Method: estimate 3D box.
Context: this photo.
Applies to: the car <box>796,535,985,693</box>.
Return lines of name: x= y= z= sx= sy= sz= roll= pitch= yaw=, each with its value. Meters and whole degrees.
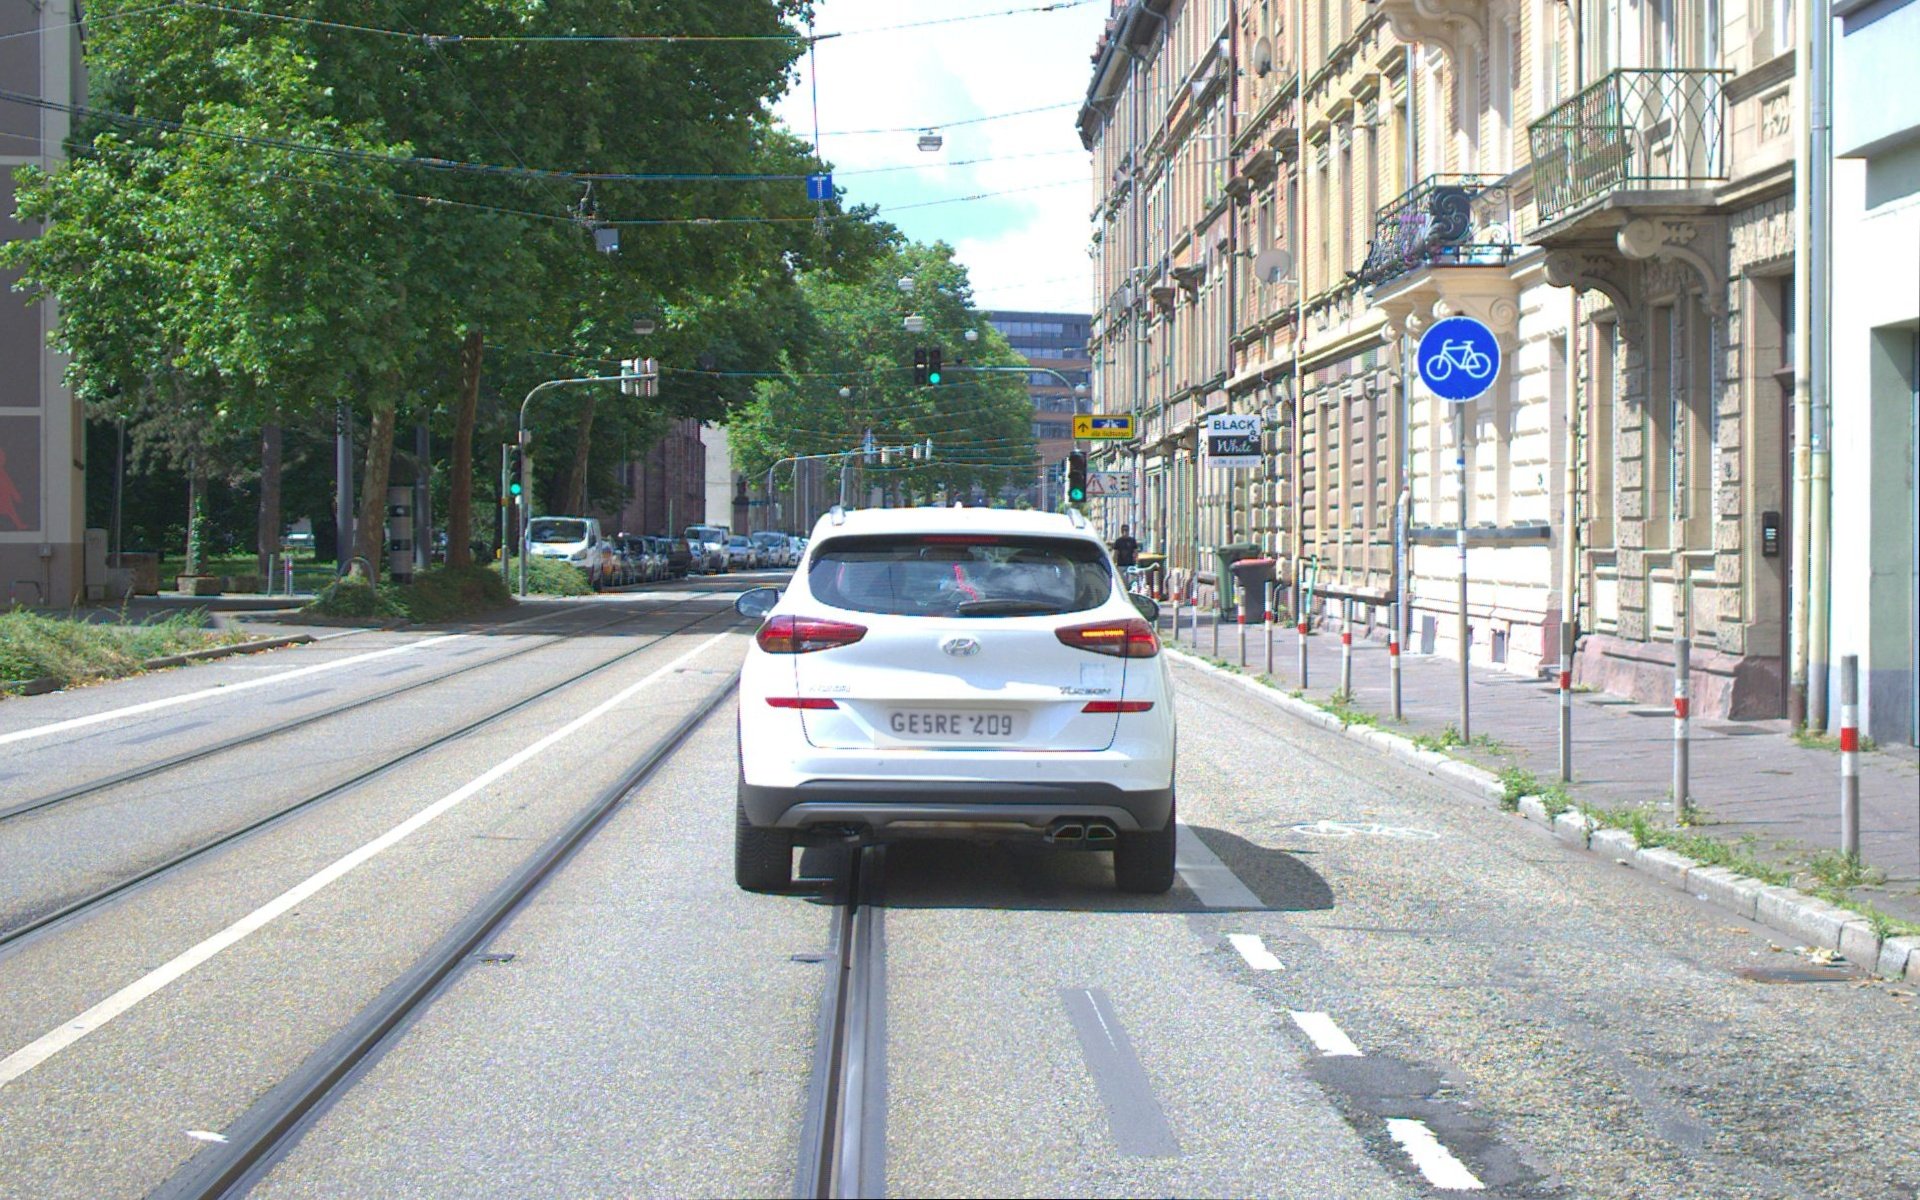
car: x=-0.673 y=0.094 z=35.210 sx=1.814 sy=1.519 sz=4.085 roll=0 pitch=1 yaw=0

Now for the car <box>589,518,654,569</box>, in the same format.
car: x=-11.126 y=-1.863 z=113.111 sx=1.950 sy=1.626 sz=4.001 roll=1 pitch=1 yaw=-3

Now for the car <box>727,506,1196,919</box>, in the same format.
car: x=-0.119 y=0.413 z=15.818 sx=1.852 sy=1.628 sz=4.181 roll=1 pitch=1 yaw=-4

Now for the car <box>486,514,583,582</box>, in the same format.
car: x=-10.668 y=-1.321 z=86.414 sx=1.950 sy=1.626 sz=4.576 roll=1 pitch=1 yaw=-1

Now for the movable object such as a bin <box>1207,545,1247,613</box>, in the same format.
movable object such as a bin: x=4.518 y=-0.359 z=58.230 sx=0.612 sy=1.139 sz=0.638 roll=0 pitch=1 yaw=-1

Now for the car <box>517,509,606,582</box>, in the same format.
car: x=-10.692 y=-1.487 z=92.491 sx=1.950 sy=1.888 sz=4.566 roll=1 pitch=1 yaw=-1

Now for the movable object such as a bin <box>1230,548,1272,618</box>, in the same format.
movable object such as a bin: x=4.809 y=-0.278 z=56.804 sx=0.612 sy=1.139 sz=0.638 roll=1 pitch=1 yaw=-1

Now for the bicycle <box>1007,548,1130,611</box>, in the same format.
bicycle: x=2.058 y=-0.395 z=65.167 sx=2.267 sy=1.140 sz=0.585 roll=1 pitch=1 yaw=-3

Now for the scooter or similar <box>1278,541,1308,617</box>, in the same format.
scooter or similar: x=5.207 y=-0.331 z=53.742 sx=0.395 sy=1.160 sz=0.486 roll=1 pitch=1 yaw=-1

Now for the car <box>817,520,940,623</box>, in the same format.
car: x=-1.239 y=-0.469 z=52.947 sx=1.814 sy=1.519 sz=3.956 roll=0 pitch=1 yaw=-1

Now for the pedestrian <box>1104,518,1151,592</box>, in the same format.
pedestrian: x=3.640 y=-0.981 z=74.743 sx=0.938 sy=1.567 sz=1.050 roll=1 pitch=1 yaw=-1

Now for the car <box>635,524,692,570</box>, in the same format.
car: x=-10.796 y=-1.946 z=125.428 sx=1.950 sy=1.626 sz=4.001 roll=1 pitch=1 yaw=-3

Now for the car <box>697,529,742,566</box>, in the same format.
car: x=-10.950 y=-2.408 z=156.682 sx=1.950 sy=1.626 sz=4.001 roll=1 pitch=1 yaw=-3
